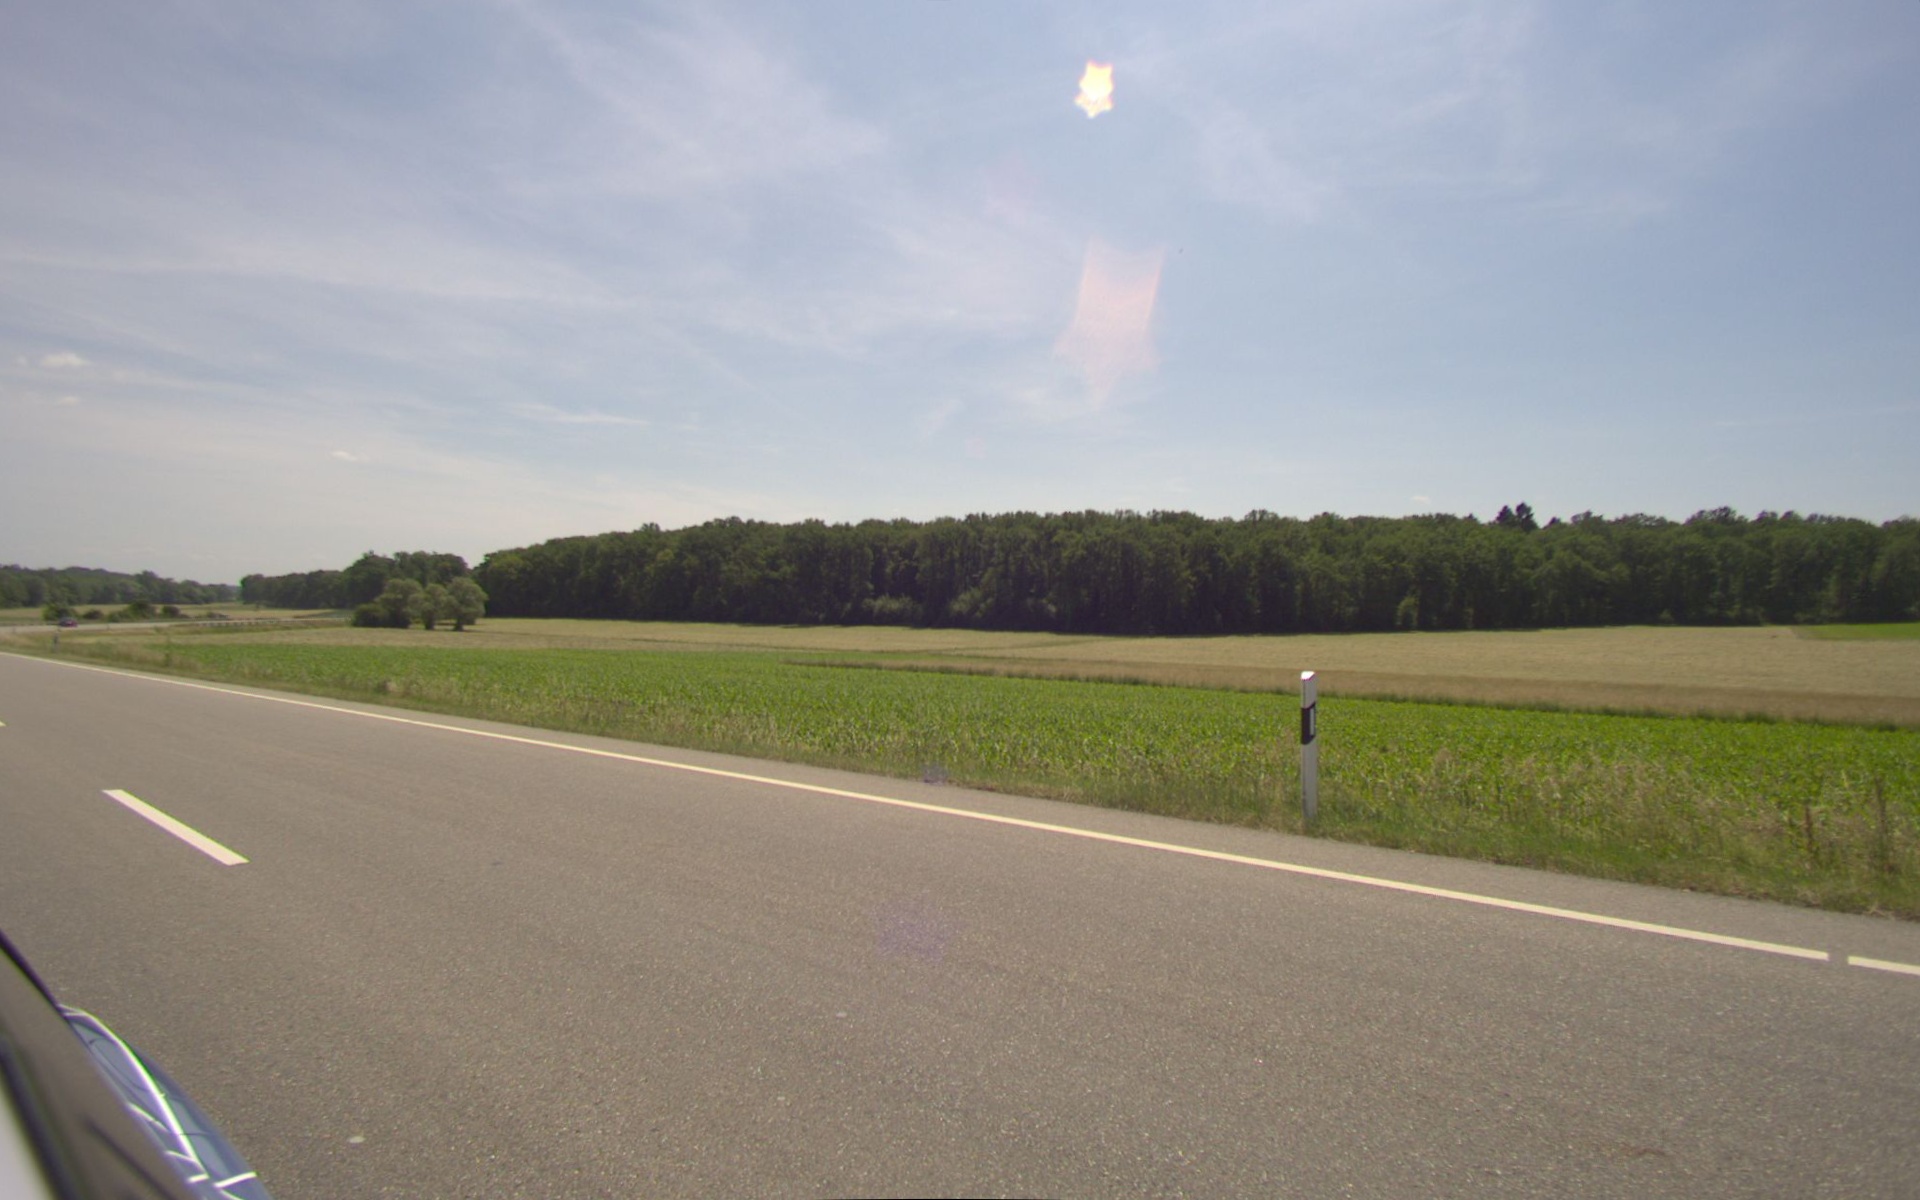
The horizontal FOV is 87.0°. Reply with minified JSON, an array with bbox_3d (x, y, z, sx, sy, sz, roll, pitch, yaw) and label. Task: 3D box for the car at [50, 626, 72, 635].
[{"bbox_3d":[-149.707,5.122,168.492,1.594,1.447,3.454,1,-2,-22],"label":"car"}]
